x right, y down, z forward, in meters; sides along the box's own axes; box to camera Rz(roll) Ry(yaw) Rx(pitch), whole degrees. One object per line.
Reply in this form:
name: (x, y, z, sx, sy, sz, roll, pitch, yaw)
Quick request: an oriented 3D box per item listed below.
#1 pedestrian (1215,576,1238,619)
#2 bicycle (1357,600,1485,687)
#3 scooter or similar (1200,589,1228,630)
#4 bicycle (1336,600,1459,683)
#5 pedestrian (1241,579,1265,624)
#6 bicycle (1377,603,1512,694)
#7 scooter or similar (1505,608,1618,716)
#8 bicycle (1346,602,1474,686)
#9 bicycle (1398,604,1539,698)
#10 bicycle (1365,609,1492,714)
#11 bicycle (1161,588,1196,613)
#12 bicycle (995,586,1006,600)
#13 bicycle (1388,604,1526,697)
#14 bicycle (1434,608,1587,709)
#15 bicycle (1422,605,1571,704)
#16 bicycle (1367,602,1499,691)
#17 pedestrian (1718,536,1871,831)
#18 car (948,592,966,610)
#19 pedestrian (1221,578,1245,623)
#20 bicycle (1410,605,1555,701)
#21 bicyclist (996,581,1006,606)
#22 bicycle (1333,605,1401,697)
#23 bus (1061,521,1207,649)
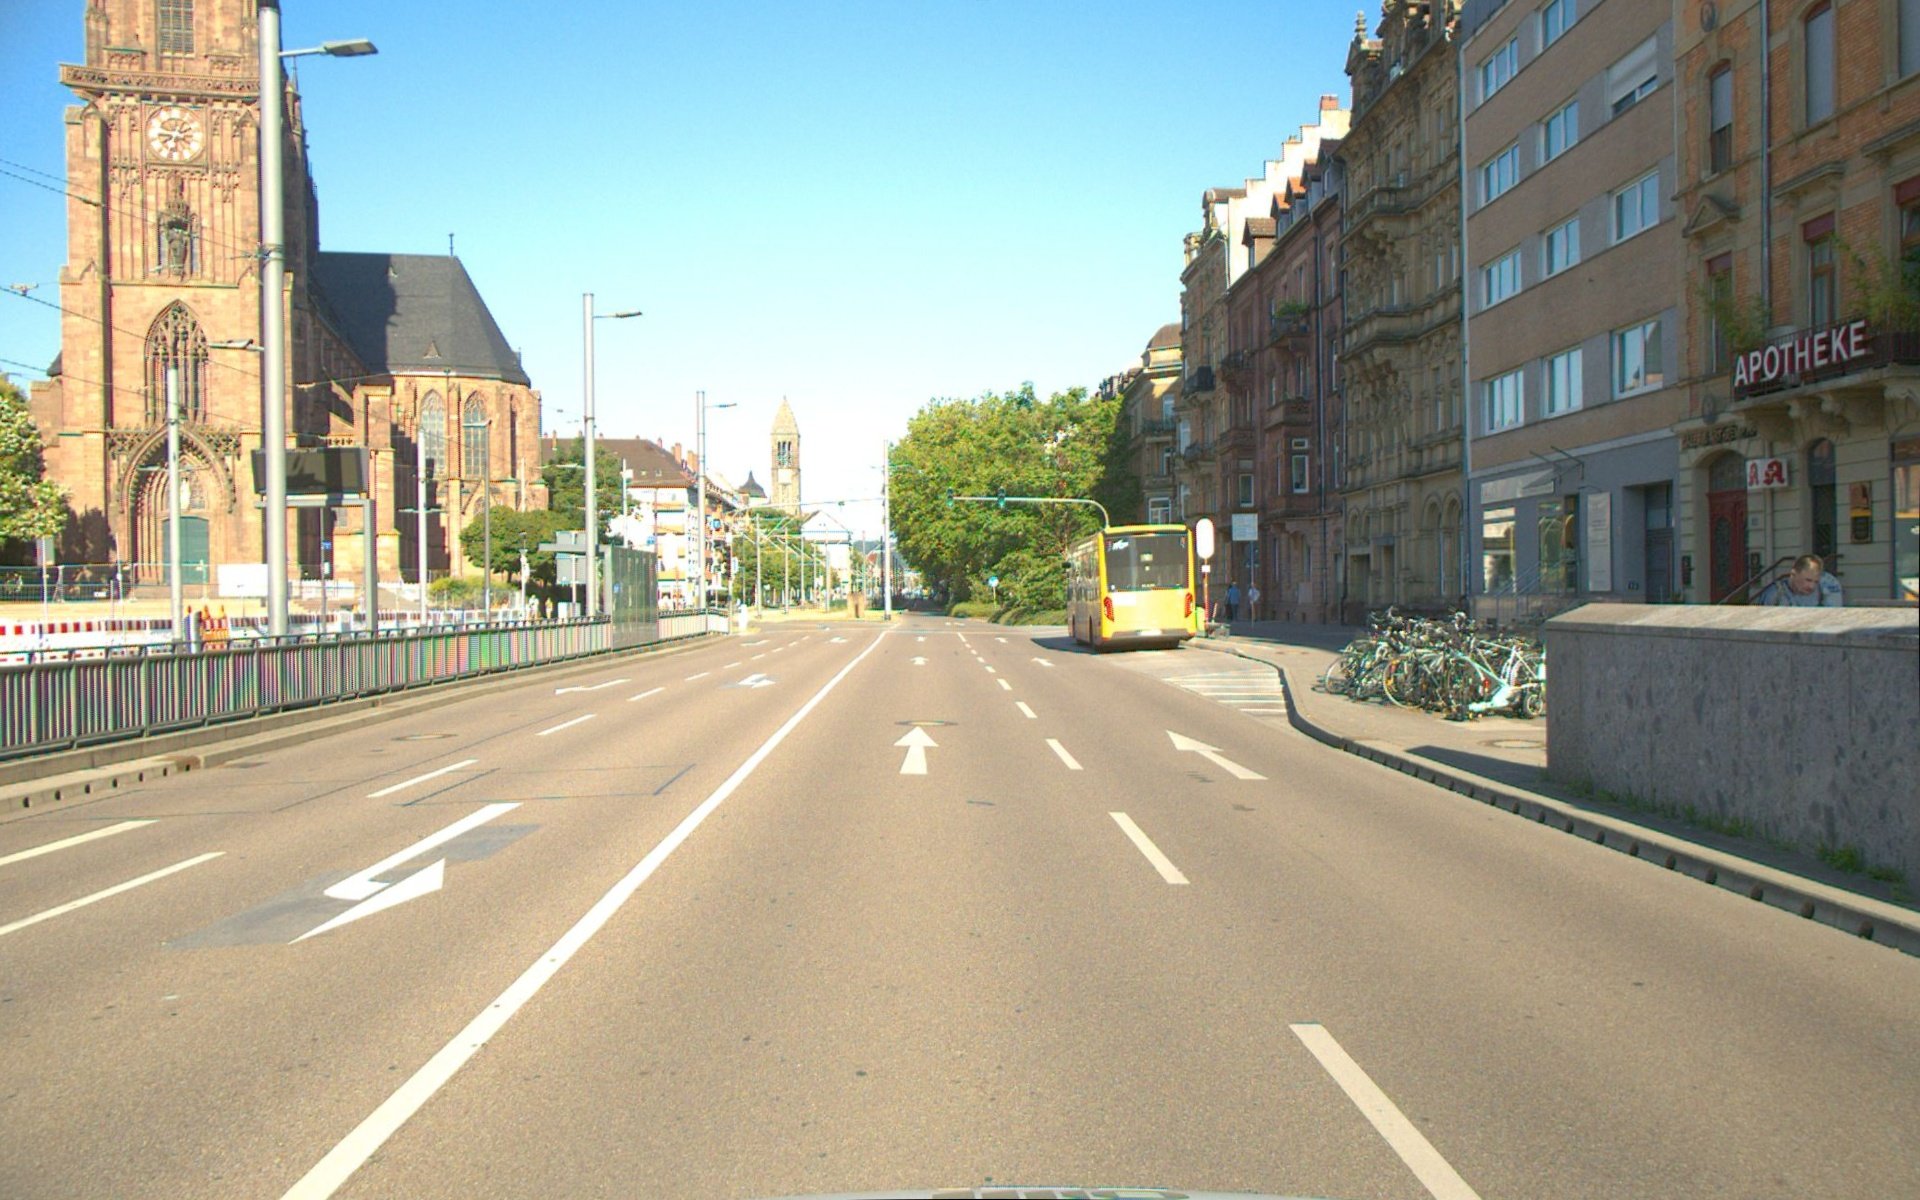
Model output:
pedestrian: (12.265, -0.129, 76.058, 0.805, 1.964, 1.136, -1, 0, -2)
bicycle: (6.637, 0.621, 23.836, 1.729, 1.208, 0.470, 0, 1, -2)
scooter or similar: (8.129, 0.300, 52.996, 0.423, 1.271, 1.291, -2, -1, -11)
bicycle: (6.560, 0.618, 24.827, 1.729, 1.208, 0.470, 0, 1, -2)
pedestrian: (13.007, 0.062, 73.542, 0.805, 1.964, 1.136, -1, 0, -2)
bicycle: (6.678, 0.663, 22.828, 1.729, 1.208, 0.470, 0, 1, -2)
scooter or similar: (7.107, 0.712, 19.542, 1.191, 1.237, 0.636, 0, -1, -29)
bicycle: (6.608, 0.639, 24.326, 1.755, 1.208, 0.470, 0, 1, -2)
bicycle: (6.695, 0.665, 21.802, 1.729, 1.208, 0.470, 0, 1, -2)
bicycle: (5.645, 0.718, 20.014, 0.462, 1.167, 1.757, -1, 1, -24)
bicycle: (12.075, 0.022, 91.434, 1.851, 1.260, 0.489, -2, -1, -14)
bicycle: (3.073, -0.528, 125.722, 0.628, 1.066, 2.359, -2, -1, -2)
bicycle: (6.694, 0.672, 22.309, 1.729, 1.208, 0.470, 0, 1, -2)
bicycle: (6.748, 0.705, 20.303, 1.729, 1.199, 0.470, 0, 1, -2)
bicycle: (6.740, 0.680, 20.804, 1.729, 1.199, 0.470, 0, 1, -2)
bicycle: (6.666, 0.649, 23.331, 1.729, 1.208, 0.470, 0, 1, -2)
pedestrian: (6.043, 0.578, 12.005, 0.735, 2.048, 0.698, -2, 3, -1)
car: (-0.328, 0.081, 155.141, 1.610, 1.537, 4.182, -2, 1, -1)
pedestrian: (12.126, 0.013, 73.522, 0.805, 1.964, 1.136, -1, 0, -2)
bicycle: (6.716, 0.674, 21.302, 1.729, 1.208, 0.470, 0, 1, -2)
bicyclist: (3.084, -0.458, 125.700, 0.628, 1.846, 1.052, -2, -1, -2)
bicycle: (5.578, 0.671, 22.723, 0.459, 1.167, 1.770, 0, 1, -1)
bus: (4.900, -0.432, 49.239, 2.660, 3.236, 12.538, -2, 0, -1)
